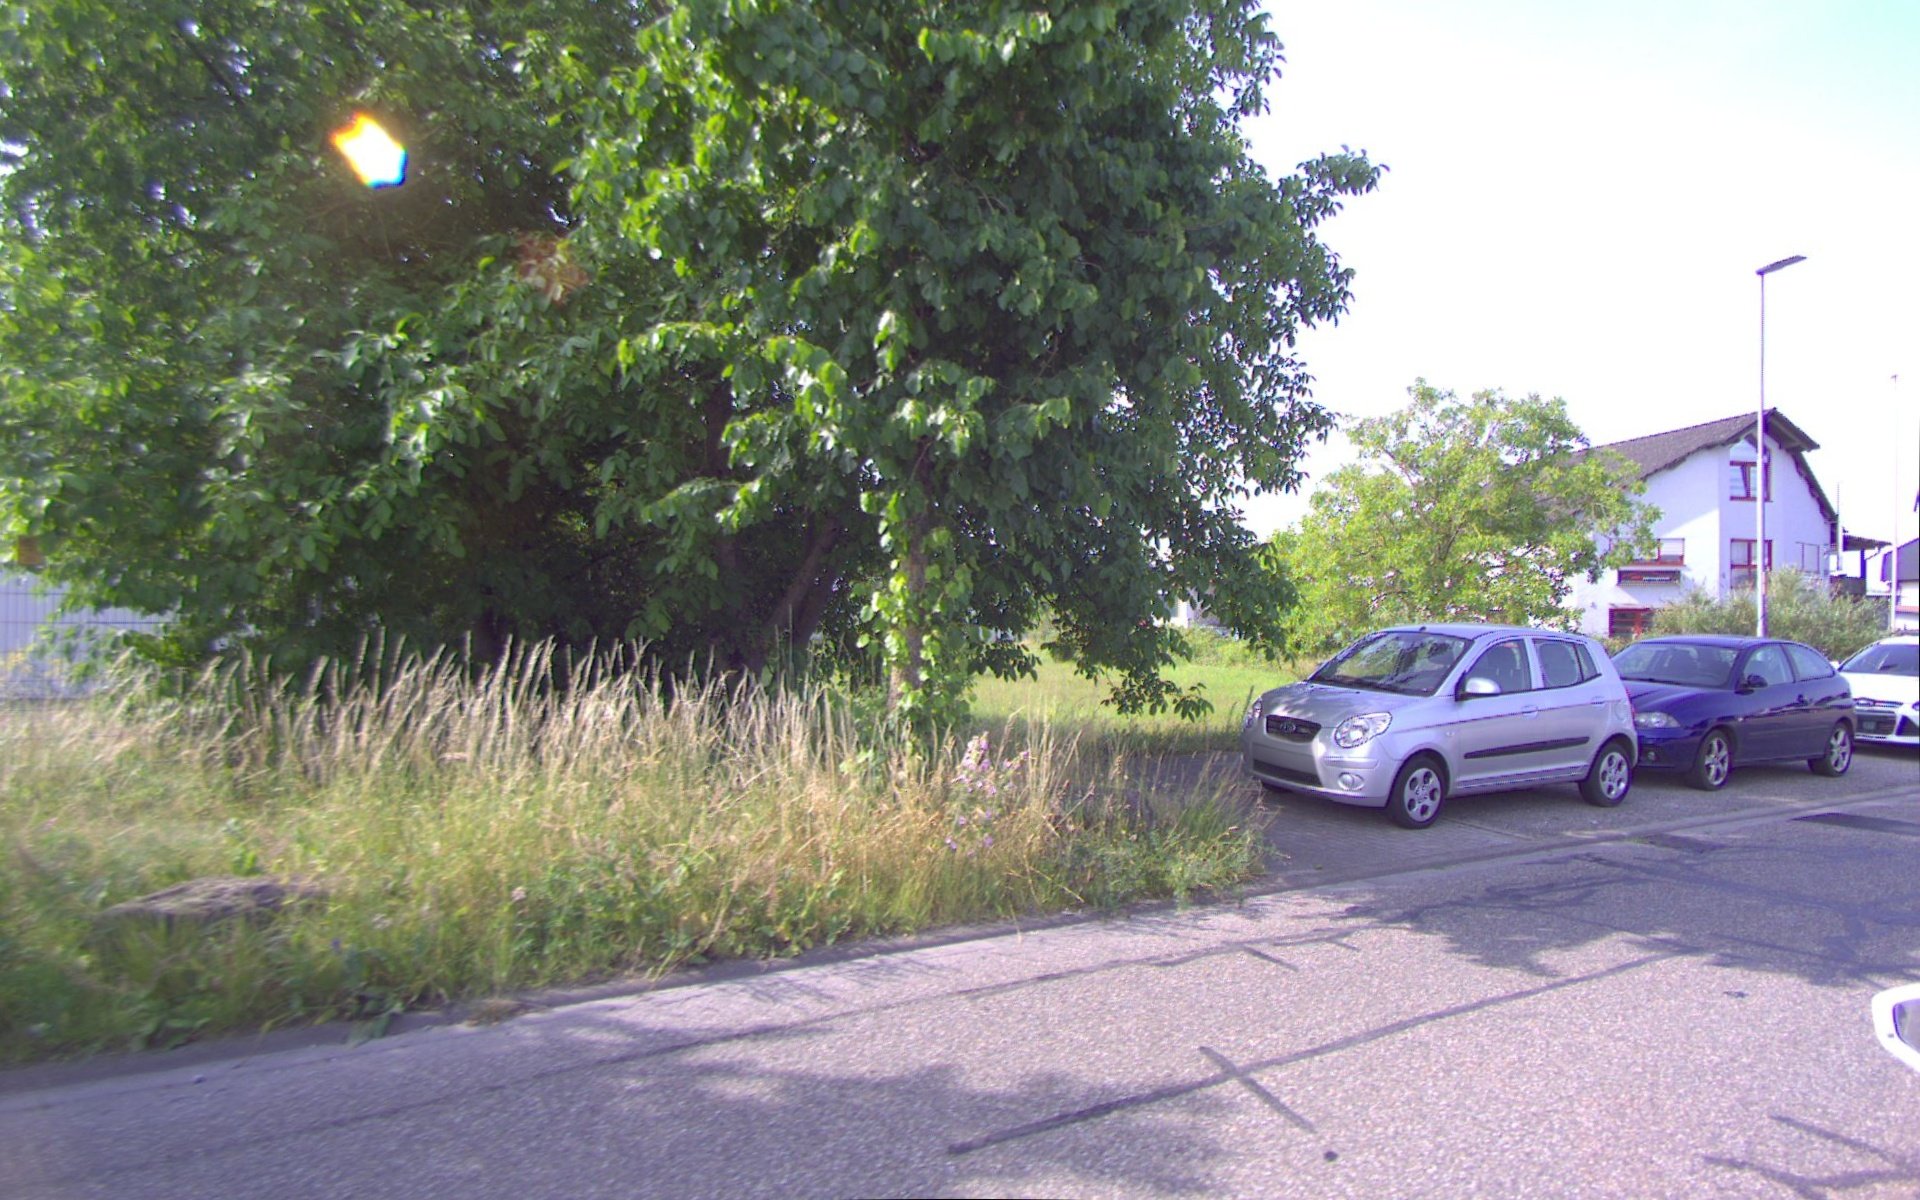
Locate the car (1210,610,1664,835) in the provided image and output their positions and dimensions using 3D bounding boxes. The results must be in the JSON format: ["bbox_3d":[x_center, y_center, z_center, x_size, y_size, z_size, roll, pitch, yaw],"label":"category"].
[{"bbox_3d":[4.102,0.912,8.606,3.638,1.559,1.561,1,0,-26],"label":"car"}]

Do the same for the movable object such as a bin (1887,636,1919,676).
[{"bbox_3d":[29.775,1.706,29.521,1.734,1.162,3.320,1,0,-19],"label":"movable object such as a bin"}]

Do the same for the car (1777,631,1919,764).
[{"bbox_3d":[12.734,1.195,13.136,4.200,1.489,1.677,1,0,-28],"label":"car"}]

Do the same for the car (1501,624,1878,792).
[{"bbox_3d":[7.738,1.031,10.614,3.911,1.463,1.573,1,0,-26],"label":"car"}]
